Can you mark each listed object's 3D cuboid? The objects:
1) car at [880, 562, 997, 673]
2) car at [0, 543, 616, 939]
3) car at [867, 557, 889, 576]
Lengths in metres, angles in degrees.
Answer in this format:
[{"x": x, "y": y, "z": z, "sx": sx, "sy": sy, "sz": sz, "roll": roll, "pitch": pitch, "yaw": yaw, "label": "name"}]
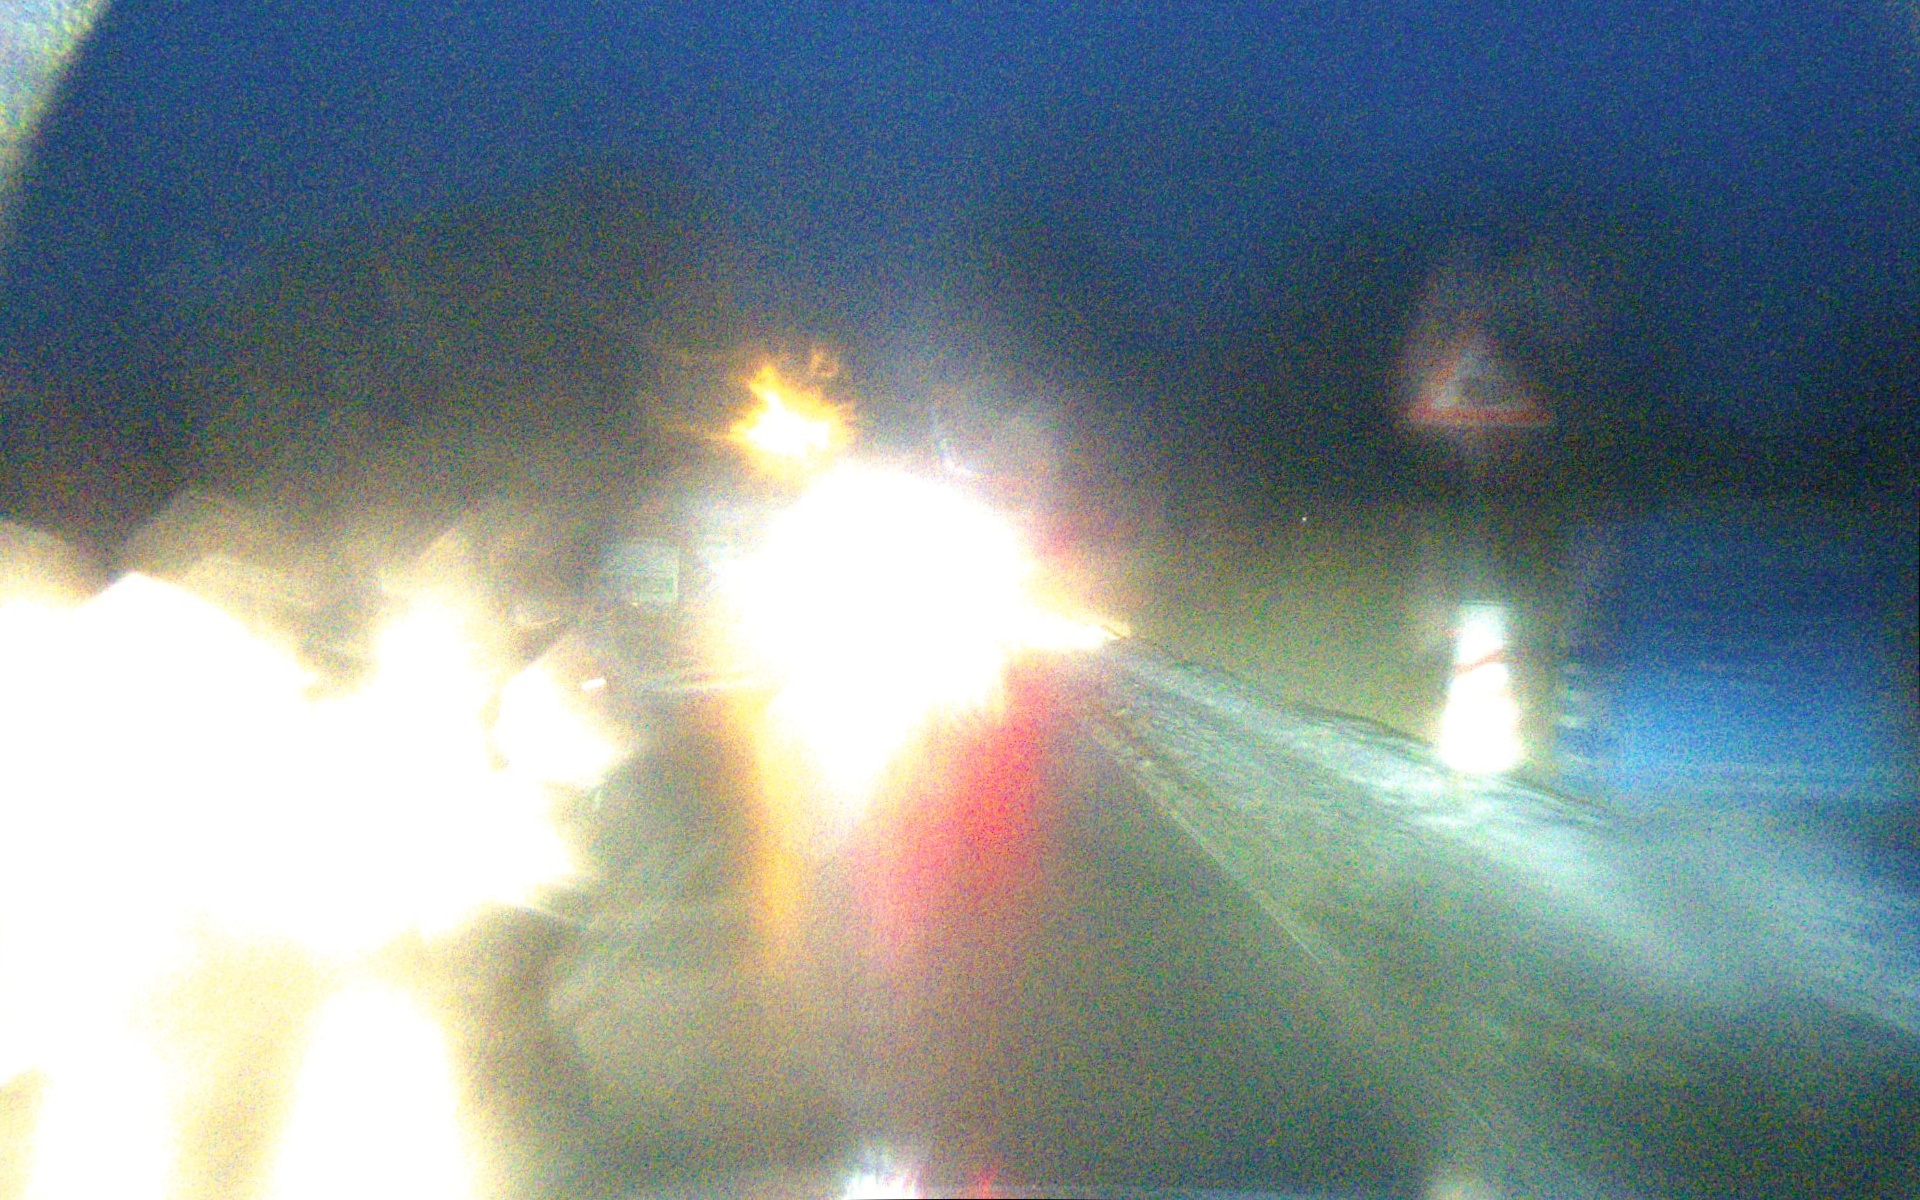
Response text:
[{"x": -0.363, "y": 0.269, "z": 27.574, "sx": 1.765, "sy": 1.657, "sz": 3.614, "roll": 2, "pitch": 0, "yaw": -1, "label": "car"}, {"x": -3.020, "y": 0.568, "z": 8.476, "sx": 1.765, "sy": 1.535, "sz": 3.614, "roll": 2, "pitch": 0, "yaw": -1, "label": "car"}, {"x": -6.768, "y": -2.785, "z": 136.795, "sx": 1.697, "sy": 1.545, "sz": 4.014, "roll": 1, "pitch": 1, "yaw": -2, "label": "car"}]
